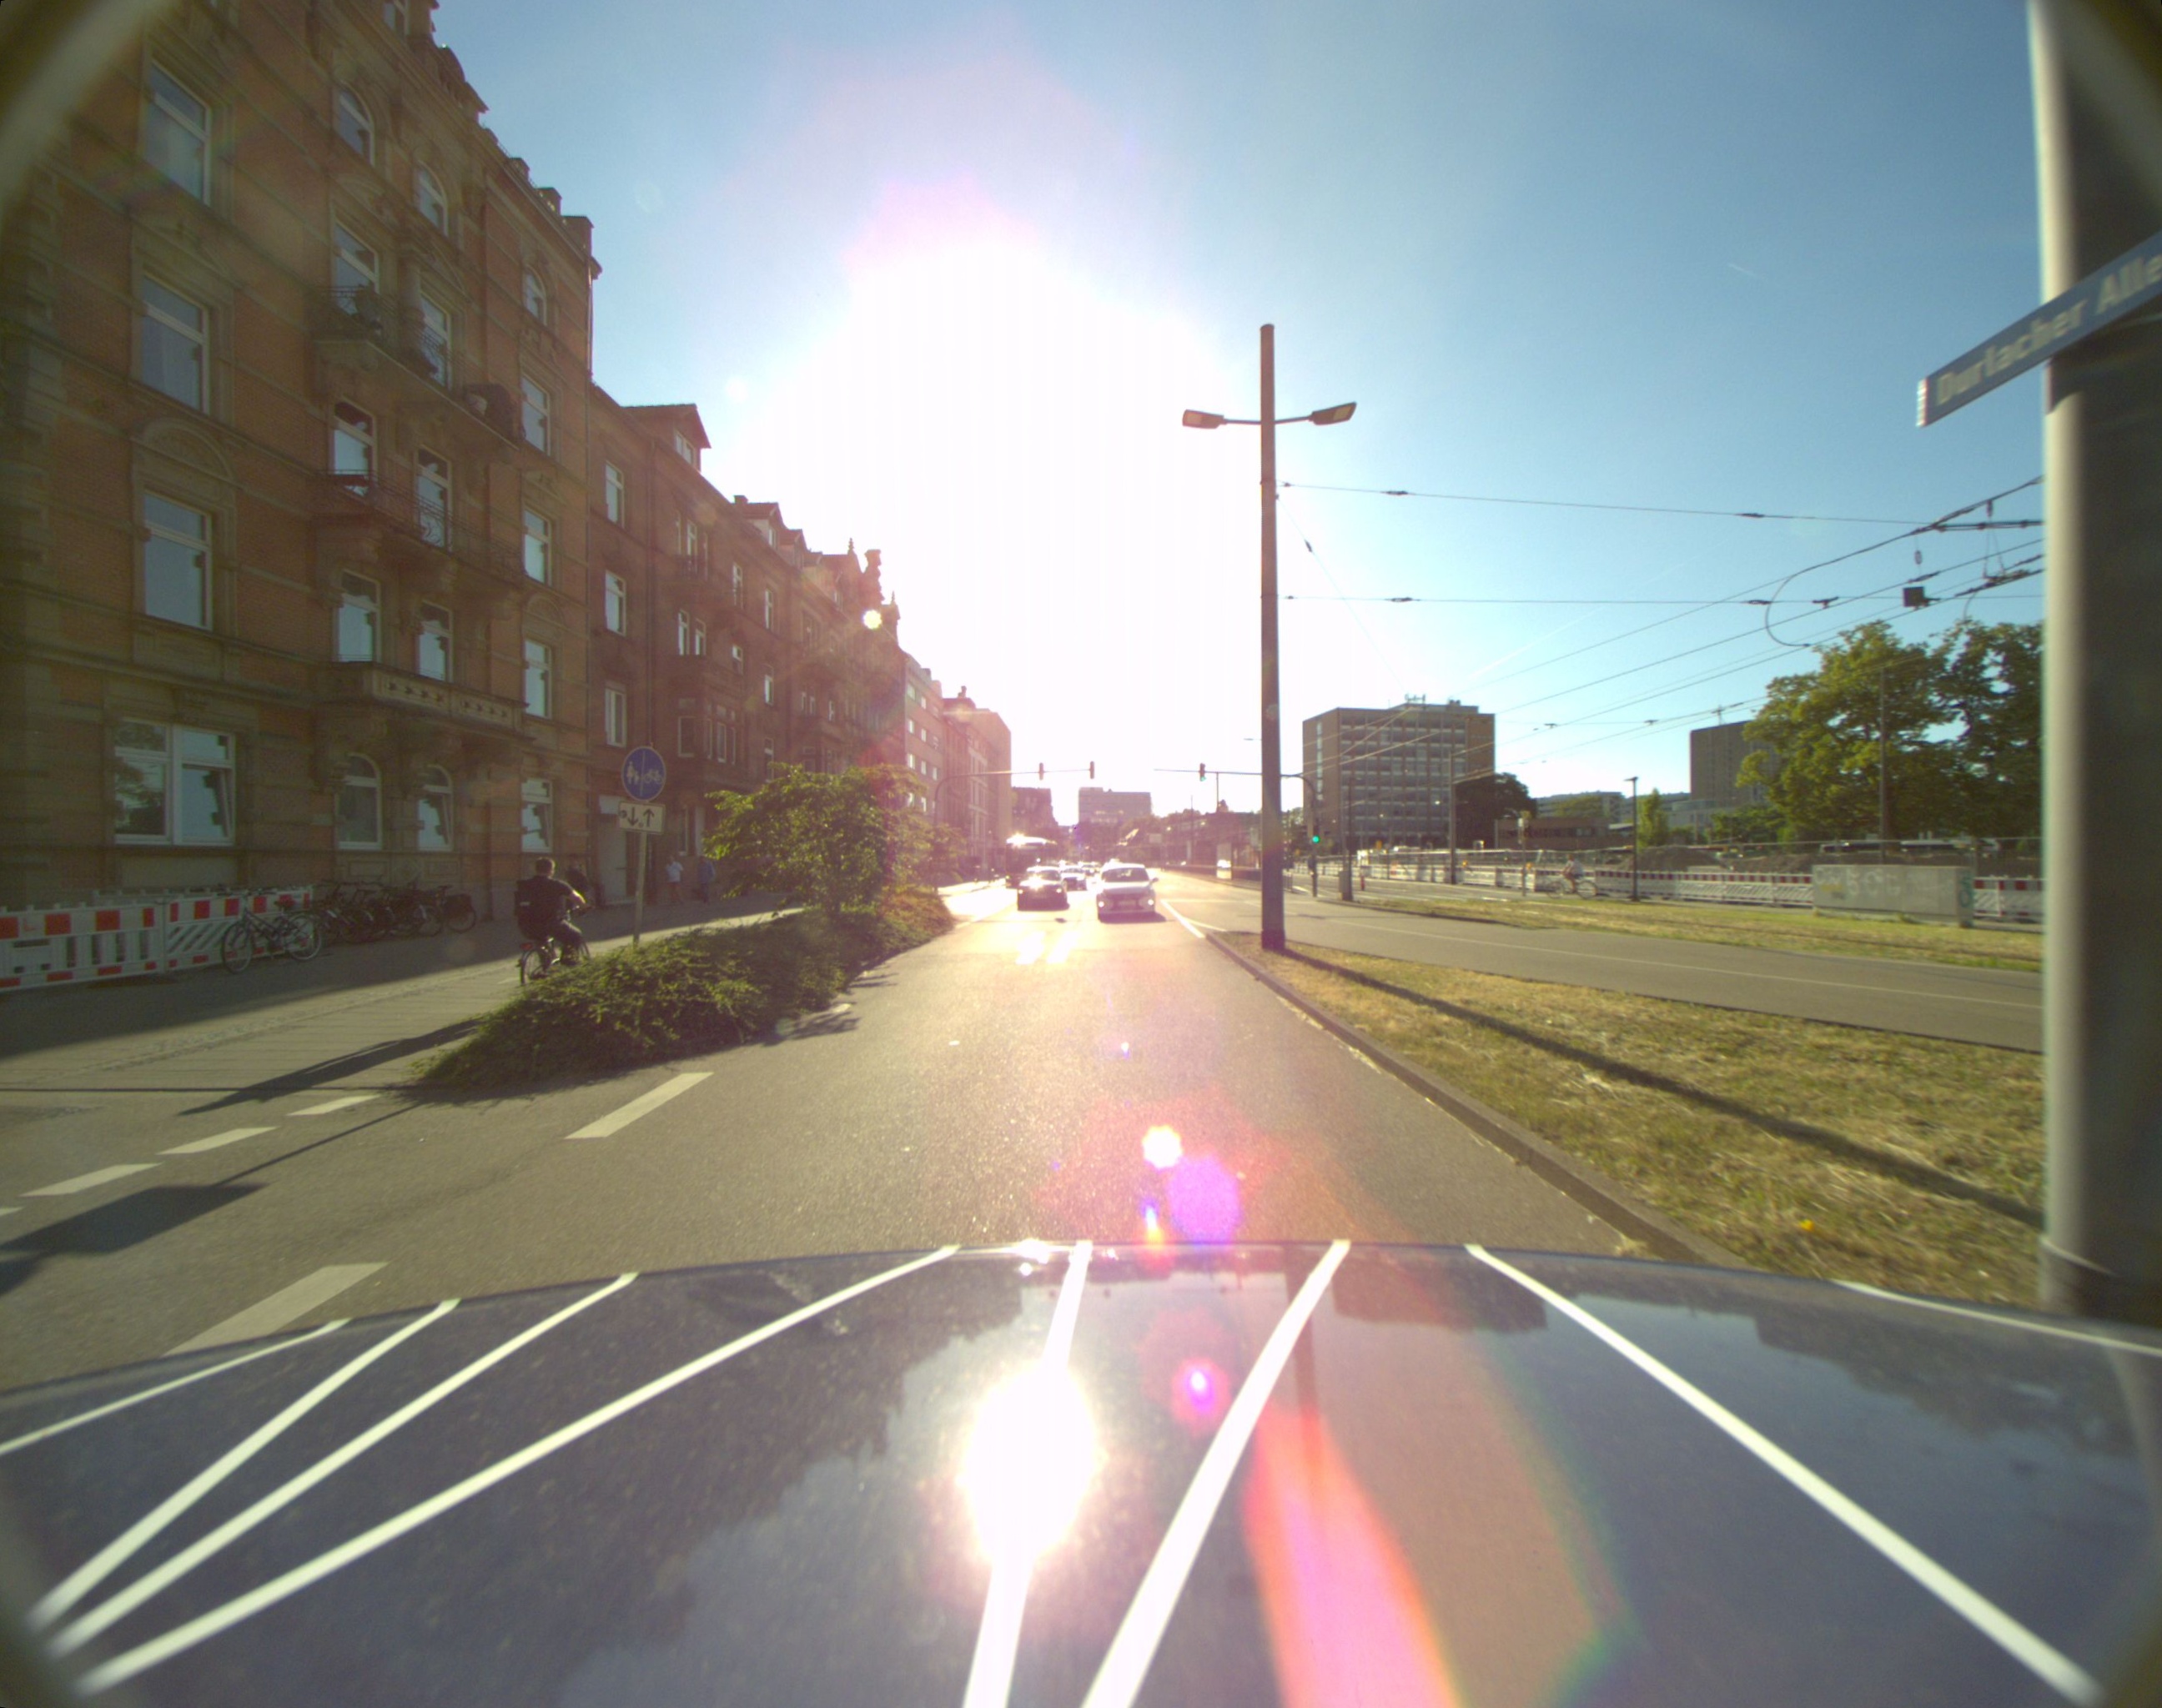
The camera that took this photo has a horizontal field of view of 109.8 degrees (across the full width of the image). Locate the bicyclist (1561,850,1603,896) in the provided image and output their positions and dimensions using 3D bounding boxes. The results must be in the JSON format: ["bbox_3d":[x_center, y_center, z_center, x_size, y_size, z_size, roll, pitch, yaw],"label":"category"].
[{"bbox_3d":[20.118,0.795,30.520,1.316,1.797,0.968,-2,-4,34],"label":"bicyclist"}]

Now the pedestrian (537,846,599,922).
[{"bbox_3d":[-13.239,0.762,19.636,0.824,1.918,1.137,0,0,2],"label":"pedestrian"}]

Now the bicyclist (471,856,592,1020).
[{"bbox_3d":[-6.424,0.934,8.946,0.643,1.804,1.052,1,1,2],"label":"bicyclist"}]

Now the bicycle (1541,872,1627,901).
[{"bbox_3d":[20.156,1.326,30.501,2.816,1.090,0.968,-3,-4,34],"label":"bicycle"}]

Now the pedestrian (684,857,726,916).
[{"bbox_3d":[-12.564,1.073,25.404,0.824,1.918,1.137,0,0,2],"label":"pedestrian"}]

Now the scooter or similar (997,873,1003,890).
[{"bbox_3d":[-6.059,2.038,56.834,0.432,1.242,1.294,1,1,-7],"label":"scooter or similar"}]

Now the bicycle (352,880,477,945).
[{"bbox_3d":[-13.224,1.154,15.120,1.890,1.232,0.490,1,1,-10],"label":"bicycle"}]

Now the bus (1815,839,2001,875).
[{"bbox_3d":[84.121,0.410,77.849,3.259,3.173,12.626,4,-4,-44],"label":"bus"}]

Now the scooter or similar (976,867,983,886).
[{"bbox_3d":[-6.962,1.561,52.156,0.432,1.242,1.293,1,1,-9],"label":"scooter or similar"}]

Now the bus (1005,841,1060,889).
[{"bbox_3d":[-3.360,0.789,56.131,2.721,3.162,12.544,1,-1,2],"label":"bus"}]

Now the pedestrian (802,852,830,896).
[{"bbox_3d":[-11.908,0.893,34.126,0.824,1.918,1.137,0,0,2],"label":"pedestrian"}]

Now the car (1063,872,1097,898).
[{"bbox_3d":[-0.068,1.749,44.004,1.825,1.379,4.458,1,-1,0],"label":"car"}]

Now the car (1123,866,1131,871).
[{"bbox_3d":[14.182,4.350,233.761,1.757,1.454,4.017,-1,-2,-10],"label":"car"}]

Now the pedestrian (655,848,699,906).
[{"bbox_3d":[-13.517,0.757,25.448,0.824,1.918,1.137,0,0,2],"label":"pedestrian"}]

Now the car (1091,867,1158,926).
[{"bbox_3d":[1.248,1.183,22.365,1.720,1.483,3.871,-3,-1,3],"label":"car"}]

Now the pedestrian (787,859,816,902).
[{"bbox_3d":[-10.990,1.025,29.900,0.704,1.646,1.137,0,0,2],"label":"pedestrian"}]

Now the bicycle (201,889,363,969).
[{"bbox_3d":[-12.879,1.198,12.290,1.890,1.232,0.490,1,1,-10],"label":"bicycle"}]

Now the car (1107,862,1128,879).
[{"bbox_3d":[3.906,1.793,81.881,1.998,1.666,4.283,2,0,1],"label":"car"}]

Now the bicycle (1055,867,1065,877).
[{"bbox_3d":[-2.367,2.016,85.306,0.470,1.140,1.768,0,-1,-21],"label":"bicycle"}]

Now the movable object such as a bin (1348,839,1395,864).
[{"bbox_3d":[34.119,-0.262,89.555,2.637,2.509,5.165,2,-3,-15],"label":"movable object such as a bin"}]

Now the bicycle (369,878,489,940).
[{"bbox_3d":[-13.417,1.124,15.666,1.890,1.232,0.490,1,1,-10],"label":"bicycle"}]

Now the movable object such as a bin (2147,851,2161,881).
[{"bbox_3d":[76.279,0.842,52.430,4.003,2.001,1.998,2,-3,-18],"label":"movable object such as a bin"}]

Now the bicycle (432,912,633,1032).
[{"bbox_3d":[-6.420,1.324,9.105,0.643,1.042,2.360,1,1,2],"label":"bicycle"}]

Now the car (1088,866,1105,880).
[{"bbox_3d":[1.940,2.437,96.334,1.999,1.673,4.002,1,-3,-1],"label":"car"}]

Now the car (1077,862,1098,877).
[{"bbox_3d":[0.629,1.520,75.413,1.782,1.455,3.917,0,0,5],"label":"car"}]

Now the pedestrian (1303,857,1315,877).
[{"bbox_3d":[20.565,1.151,68.604,0.804,1.757,1.180,1,-3,2],"label":"pedestrian"}]

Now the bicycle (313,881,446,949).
[{"bbox_3d":[-13.364,1.163,14.508,1.890,1.232,0.490,1,1,-10],"label":"bicycle"}]

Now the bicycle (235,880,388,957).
[{"bbox_3d":[-12.999,1.084,12.877,1.890,1.232,0.490,1,1,-10],"label":"bicycle"}]

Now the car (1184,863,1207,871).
[{"bbox_3d":[24.969,2.806,166.201,4.697,1.673,2.004,0,-3,17],"label":"car"}]

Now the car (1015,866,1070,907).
[{"bbox_3d":[-1.359,1.155,28.250,1.694,1.380,3.833,-2,-1,2],"label":"car"}]

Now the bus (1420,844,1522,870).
[{"bbox_3d":[54.935,0.564,107.502,2.849,3.173,12.626,4,-4,-44],"label":"bus"}]

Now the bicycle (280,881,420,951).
[{"bbox_3d":[-13.354,1.127,13.919,1.890,1.232,0.490,1,1,-10],"label":"bicycle"}]

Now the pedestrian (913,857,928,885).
[{"bbox_3d":[-10.737,1.134,50.792,0.854,1.821,0.780,1,-3,-3],"label":"pedestrian"}]

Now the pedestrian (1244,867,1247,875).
[{"bbox_3d":[37.620,3.880,173.621,0.731,1.729,0.623,0,1,13],"label":"pedestrian"}]

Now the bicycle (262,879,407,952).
[{"bbox_3d":[-13.160,1.085,13.436,1.890,1.232,0.490,1,1,-10],"label":"bicycle"}]

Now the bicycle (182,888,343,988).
[{"bbox_3d":[-11.910,1.177,11.151,0.490,1.232,1.888,1,1,-7],"label":"bicycle"}]
